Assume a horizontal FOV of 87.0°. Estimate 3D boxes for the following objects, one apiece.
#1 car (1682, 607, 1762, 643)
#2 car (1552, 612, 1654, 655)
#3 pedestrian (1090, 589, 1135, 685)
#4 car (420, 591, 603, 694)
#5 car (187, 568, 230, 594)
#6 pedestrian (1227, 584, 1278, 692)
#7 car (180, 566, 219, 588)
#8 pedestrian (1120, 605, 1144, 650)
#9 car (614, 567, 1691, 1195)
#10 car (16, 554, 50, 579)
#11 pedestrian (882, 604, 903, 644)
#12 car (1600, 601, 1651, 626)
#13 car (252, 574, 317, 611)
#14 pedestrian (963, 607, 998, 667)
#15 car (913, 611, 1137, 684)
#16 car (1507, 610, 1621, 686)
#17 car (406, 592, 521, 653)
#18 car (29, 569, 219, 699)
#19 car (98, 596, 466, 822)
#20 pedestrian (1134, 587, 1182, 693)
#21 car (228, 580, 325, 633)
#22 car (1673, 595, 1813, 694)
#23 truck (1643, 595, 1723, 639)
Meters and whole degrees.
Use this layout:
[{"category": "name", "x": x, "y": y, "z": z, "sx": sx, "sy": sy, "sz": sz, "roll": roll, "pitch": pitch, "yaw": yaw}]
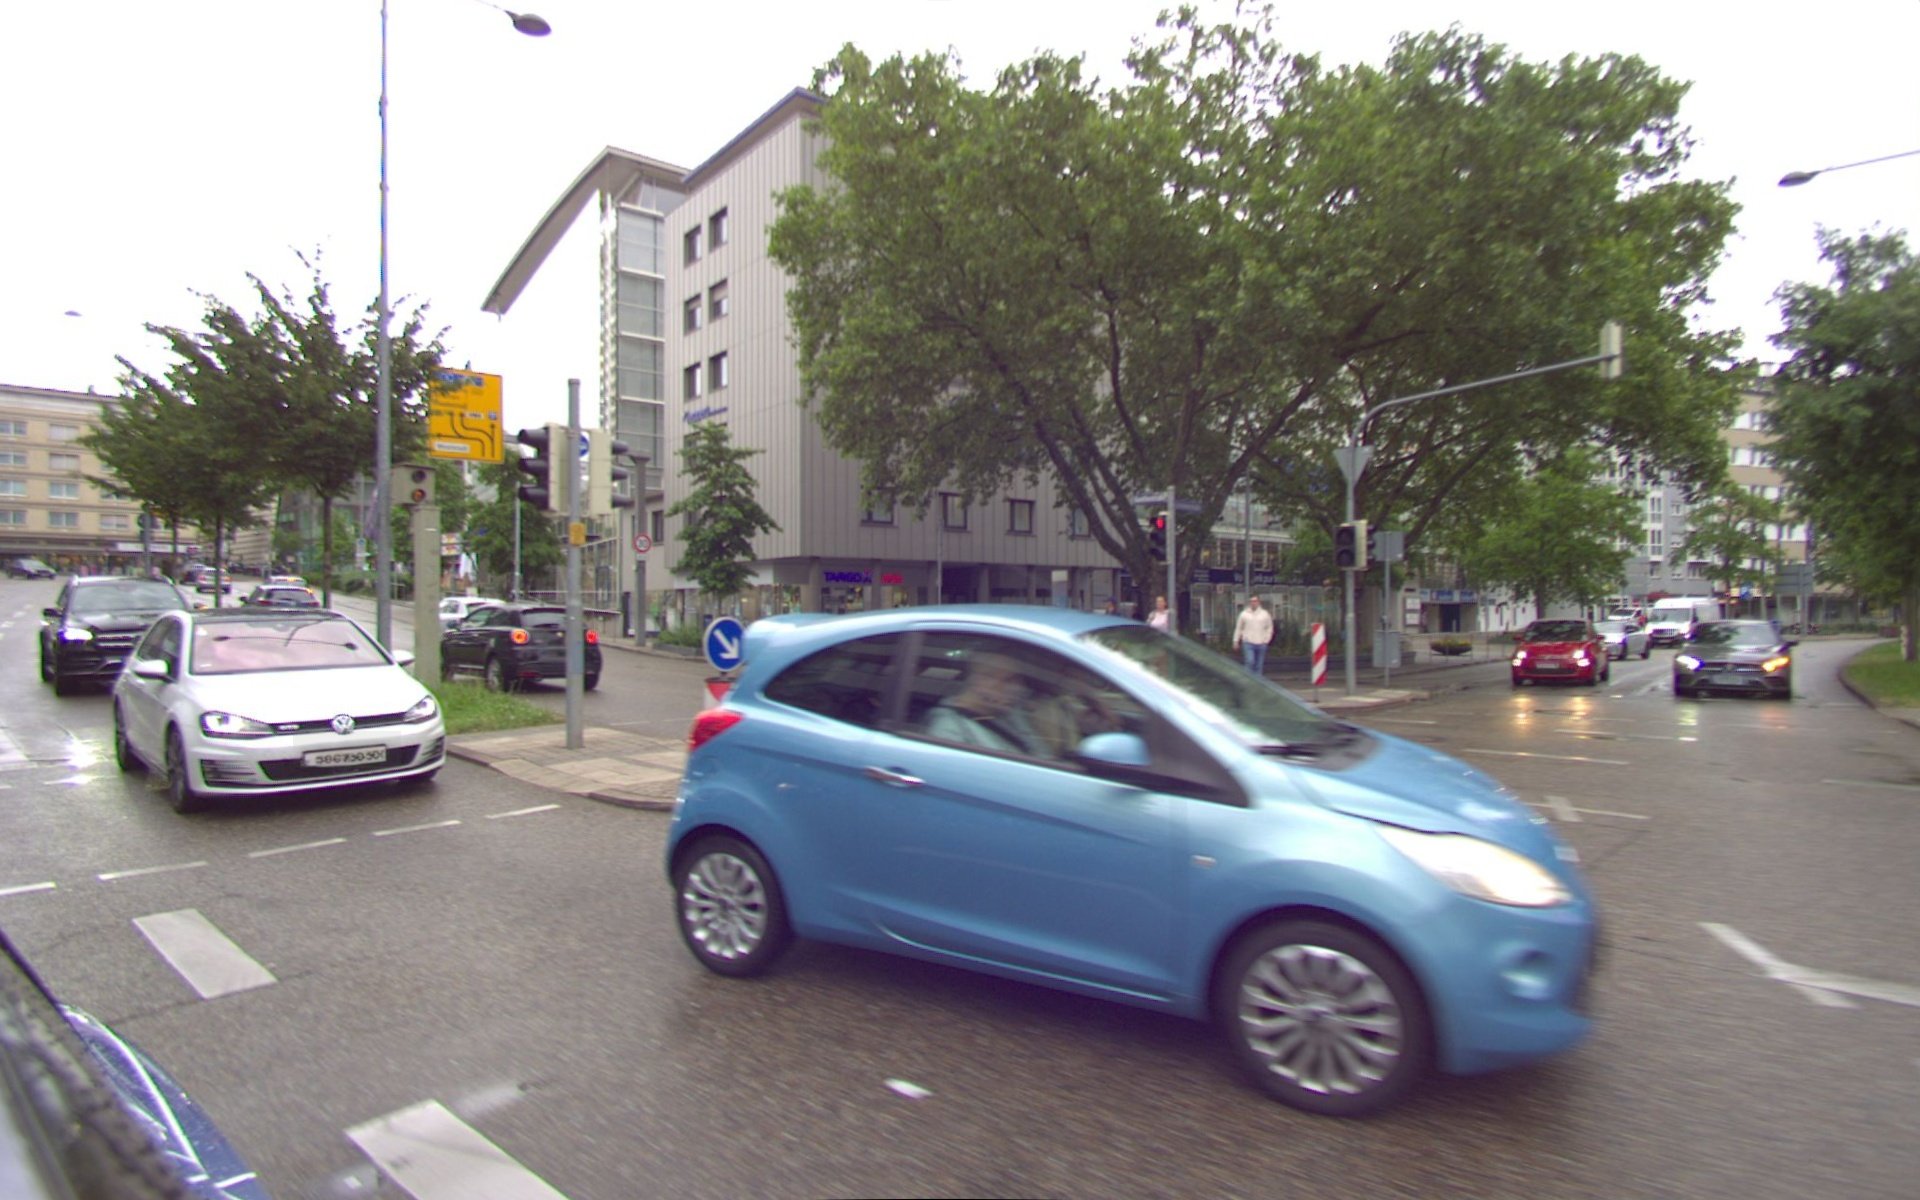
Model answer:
[{"category": "car", "x": 35.043, "y": 1.124, "z": 46.516, "sx": 3.935, "sy": 1.567, "sz": 1.962, "roll": 1, "pitch": -1, "yaw": -38}, {"category": "car", "x": 23.272, "y": 1.180, "z": 36.566, "sx": 3.935, "sy": 1.475, "sz": 1.867, "roll": 0, "pitch": -1, "yaw": -38}, {"category": "pedestrian", "x": 2.858, "y": 0.694, "z": 18.999, "sx": 0.676, "sy": 1.777, "sz": 0.406, "roll": -3, "pitch": -2, "yaw": 43}, {"category": "car", "x": -7.726, "y": 0.681, "z": 17.311, "sx": 3.660, "sy": 1.567, "sz": 1.604, "roll": -1, "pitch": -1, "yaw": 44}, {"category": "car", "x": -45.874, "y": -1.183, "z": 61.756, "sx": 1.606, "sy": 1.448, "sz": 3.650, "roll": 1, "pitch": 2, "yaw": -45}, {"category": "pedestrian", "x": 5.378, "y": 0.668, "z": 18.563, "sx": 0.821, "sy": 1.921, "sz": 0.855, "roll": -1, "pitch": 0, "yaw": 21}, {"category": "car", "x": -55.613, "y": -1.696, "z": 74.010, "sx": 1.969, "sy": 1.520, "sz": 4.192, "roll": 0, "pitch": 2, "yaw": -41}, {"category": "pedestrian", "x": 5.484, "y": 0.872, "z": 32.261, "sx": 0.540, "sy": 1.417, "sz": 0.527, "roll": 1, "pitch": -2, "yaw": -22}, {"category": "car", "x": 0.547, "y": 0.681, "z": 4.061, "sx": 3.675, "sy": 1.485, "sz": 1.684, "roll": 0, "pitch": -1, "yaw": 30}, {"category": "car", "x": -69.283, "y": -2.542, "z": 75.630, "sx": 1.806, "sy": 1.749, "sz": 4.004, "roll": 2, "pitch": 1, "yaw": -43}, {"category": "pedestrian", "x": -2.908, "y": 1.035, "z": 43.764, "sx": 0.613, "sy": 1.669, "sz": 0.634, "roll": 1, "pitch": 1, "yaw": -39}, {"category": "car", "x": 54.543, "y": 1.107, "z": 82.941, "sx": 3.745, "sy": 1.762, "sz": 1.923, "roll": -2, "pitch": 3, "yaw": -29}, {"category": "car", "x": -29.736, "y": -0.321, "z": 44.485, "sx": 3.881, "sy": 1.503, "sz": 1.600, "roll": 0, "pitch": -2, "yaw": 45}, {"category": "pedestrian", "x": 0.573, "y": 1.015, "z": 27.817, "sx": 0.670, "sy": 1.619, "sz": 0.701, "roll": 2, "pitch": -3, "yaw": -43}, {"category": "car", "x": 1.332, "y": 0.993, "z": 21.545, "sx": 4.353, "sy": 1.406, "sz": 1.938, "roll": 1, "pitch": -1, "yaw": -12}, {"category": "car", "x": 13.968, "y": 1.039, "z": 23.299, "sx": 1.700, "sy": 1.598, "sz": 3.948, "roll": -2, "pitch": -2, "yaw": 39}, {"category": "car", "x": -13.264, "y": 0.578, "z": 26.974, "sx": 1.653, "sy": 1.527, "sz": 3.645, "roll": 2, "pitch": -2, "yaw": -45}, {"category": "car", "x": -14.187, "y": 0.423, "z": 17.059, "sx": 1.971, "sy": 1.790, "sz": 4.889, "roll": -3, "pitch": 4, "yaw": -45}, {"category": "car", "x": -5.910, "y": 0.706, "z": 8.631, "sx": 4.000, "sy": 1.420, "sz": 1.746, "roll": 1, "pitch": 2, "yaw": 43}, {"category": "pedestrian", "x": 3.583, "y": 0.710, "z": 18.329, "sx": 0.676, "sy": 1.851, "sz": 0.442, "roll": 3, "pitch": 1, "yaw": 41}, {"category": "car", "x": -21.078, "y": 0.190, "z": 31.154, "sx": 3.959, "sy": 1.490, "sz": 1.694, "roll": 1, "pitch": -2, "yaw": 45}, {"category": "car", "x": 15.013, "y": 0.815, "z": 19.346, "sx": 3.549, "sy": 1.709, "sz": 1.638, "roll": 1, "pitch": -2, "yaw": -45}, {"category": "truck", "x": 38.041, "y": 0.861, "z": 53.152, "sx": 6.602, "sy": 2.171, "sz": 2.002, "roll": 0, "pitch": -1, "yaw": -42}]
